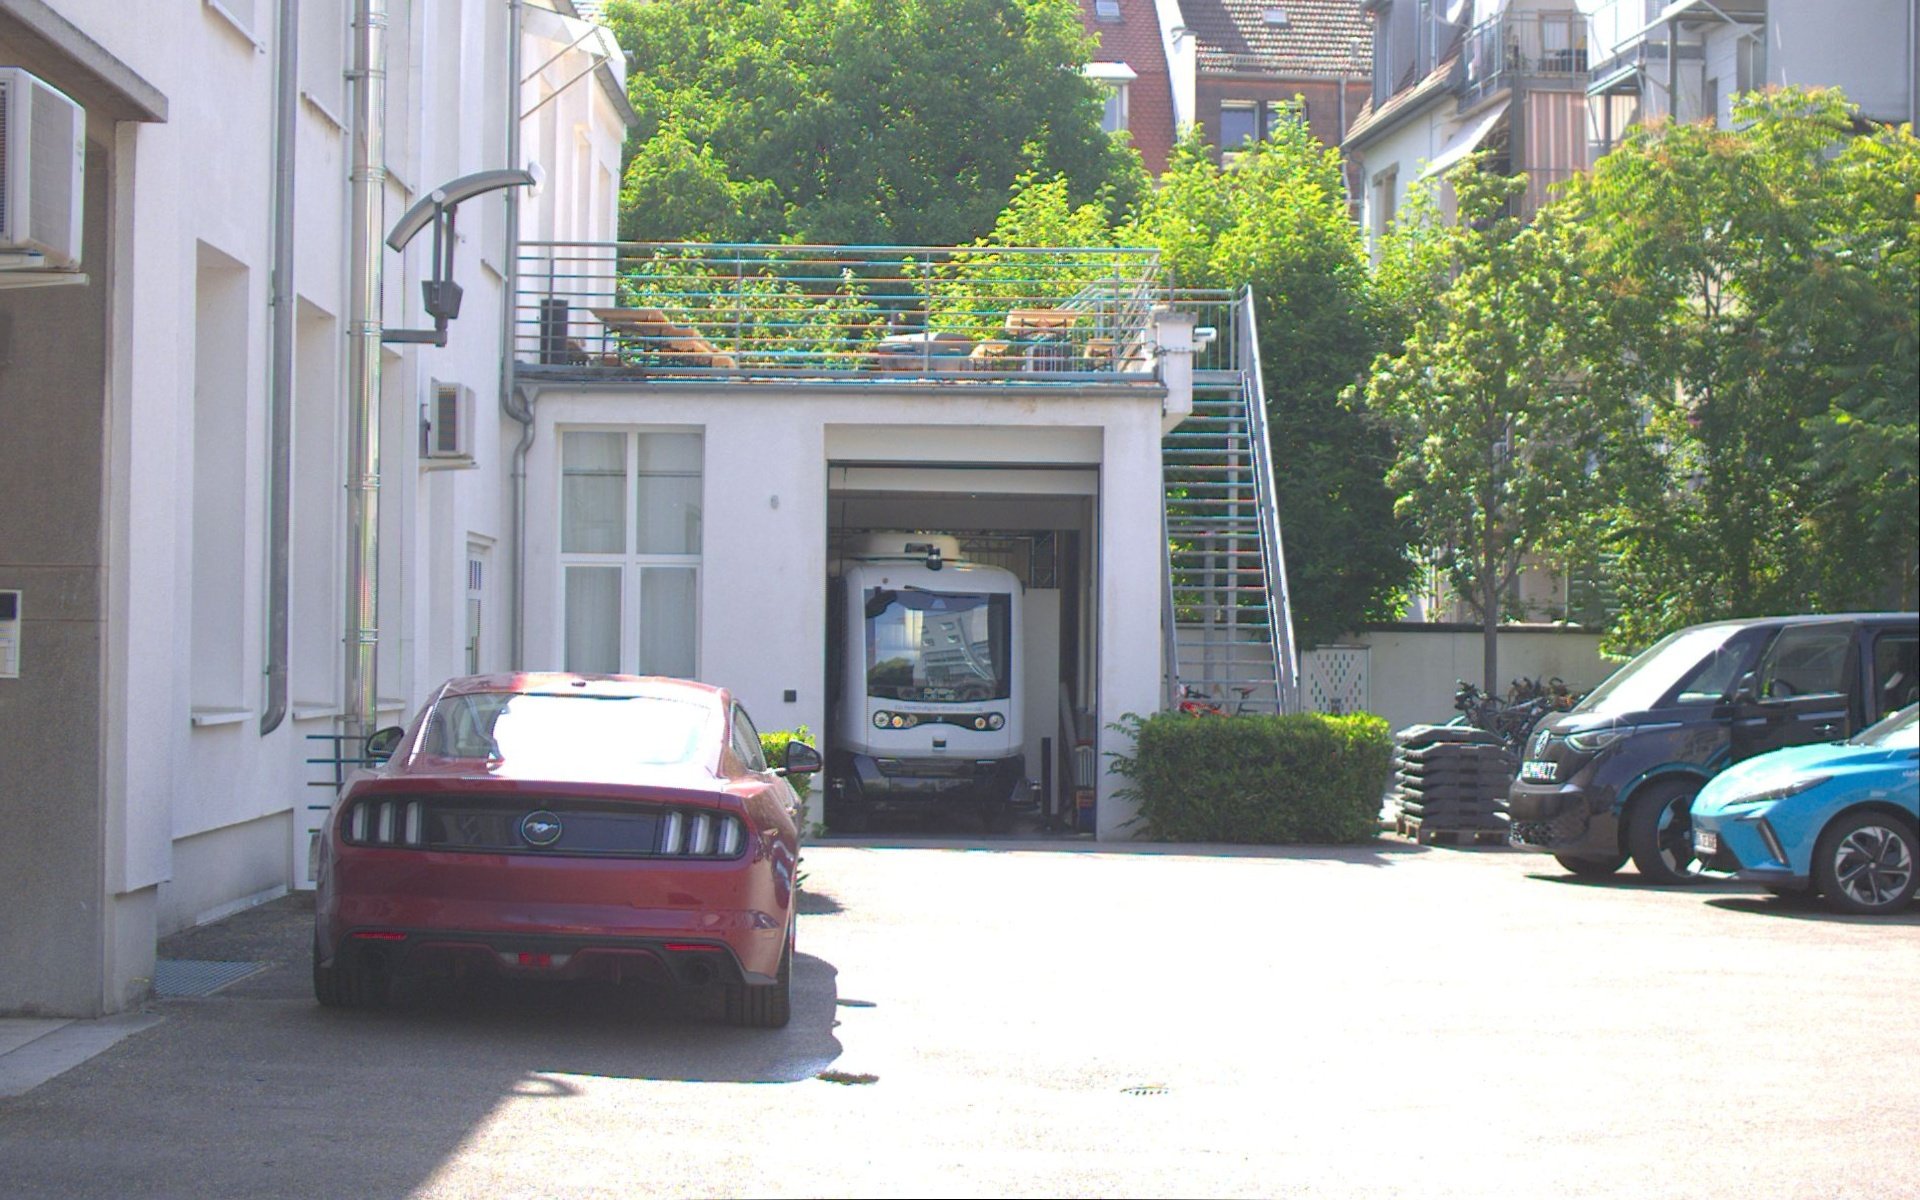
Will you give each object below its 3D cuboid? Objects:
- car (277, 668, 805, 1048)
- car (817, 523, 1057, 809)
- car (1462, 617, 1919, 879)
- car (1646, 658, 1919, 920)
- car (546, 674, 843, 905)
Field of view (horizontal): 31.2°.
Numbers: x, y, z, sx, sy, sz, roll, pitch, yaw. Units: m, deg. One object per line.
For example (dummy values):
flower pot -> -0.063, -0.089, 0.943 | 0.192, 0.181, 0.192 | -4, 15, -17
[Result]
car -> -1.652, 1.002, 14.831 | 1.852, 1.315, 4.000 | 2, -1, -2
car -> -0.243, 0.672, 34.672 | 2.174, 2.598, 6.734 | 0, -1, 0
car -> 6.388, 1.017, 25.141 | 4.950, 1.761, 2.097 | 0, 0, -13
car -> 6.723, 1.154, 21.889 | 4.228, 1.527, 2.000 | 0, 0, -4
car -> -1.591, 1.134, 21.685 | 1.614, 1.291, 3.758 | 0, -1, 0
